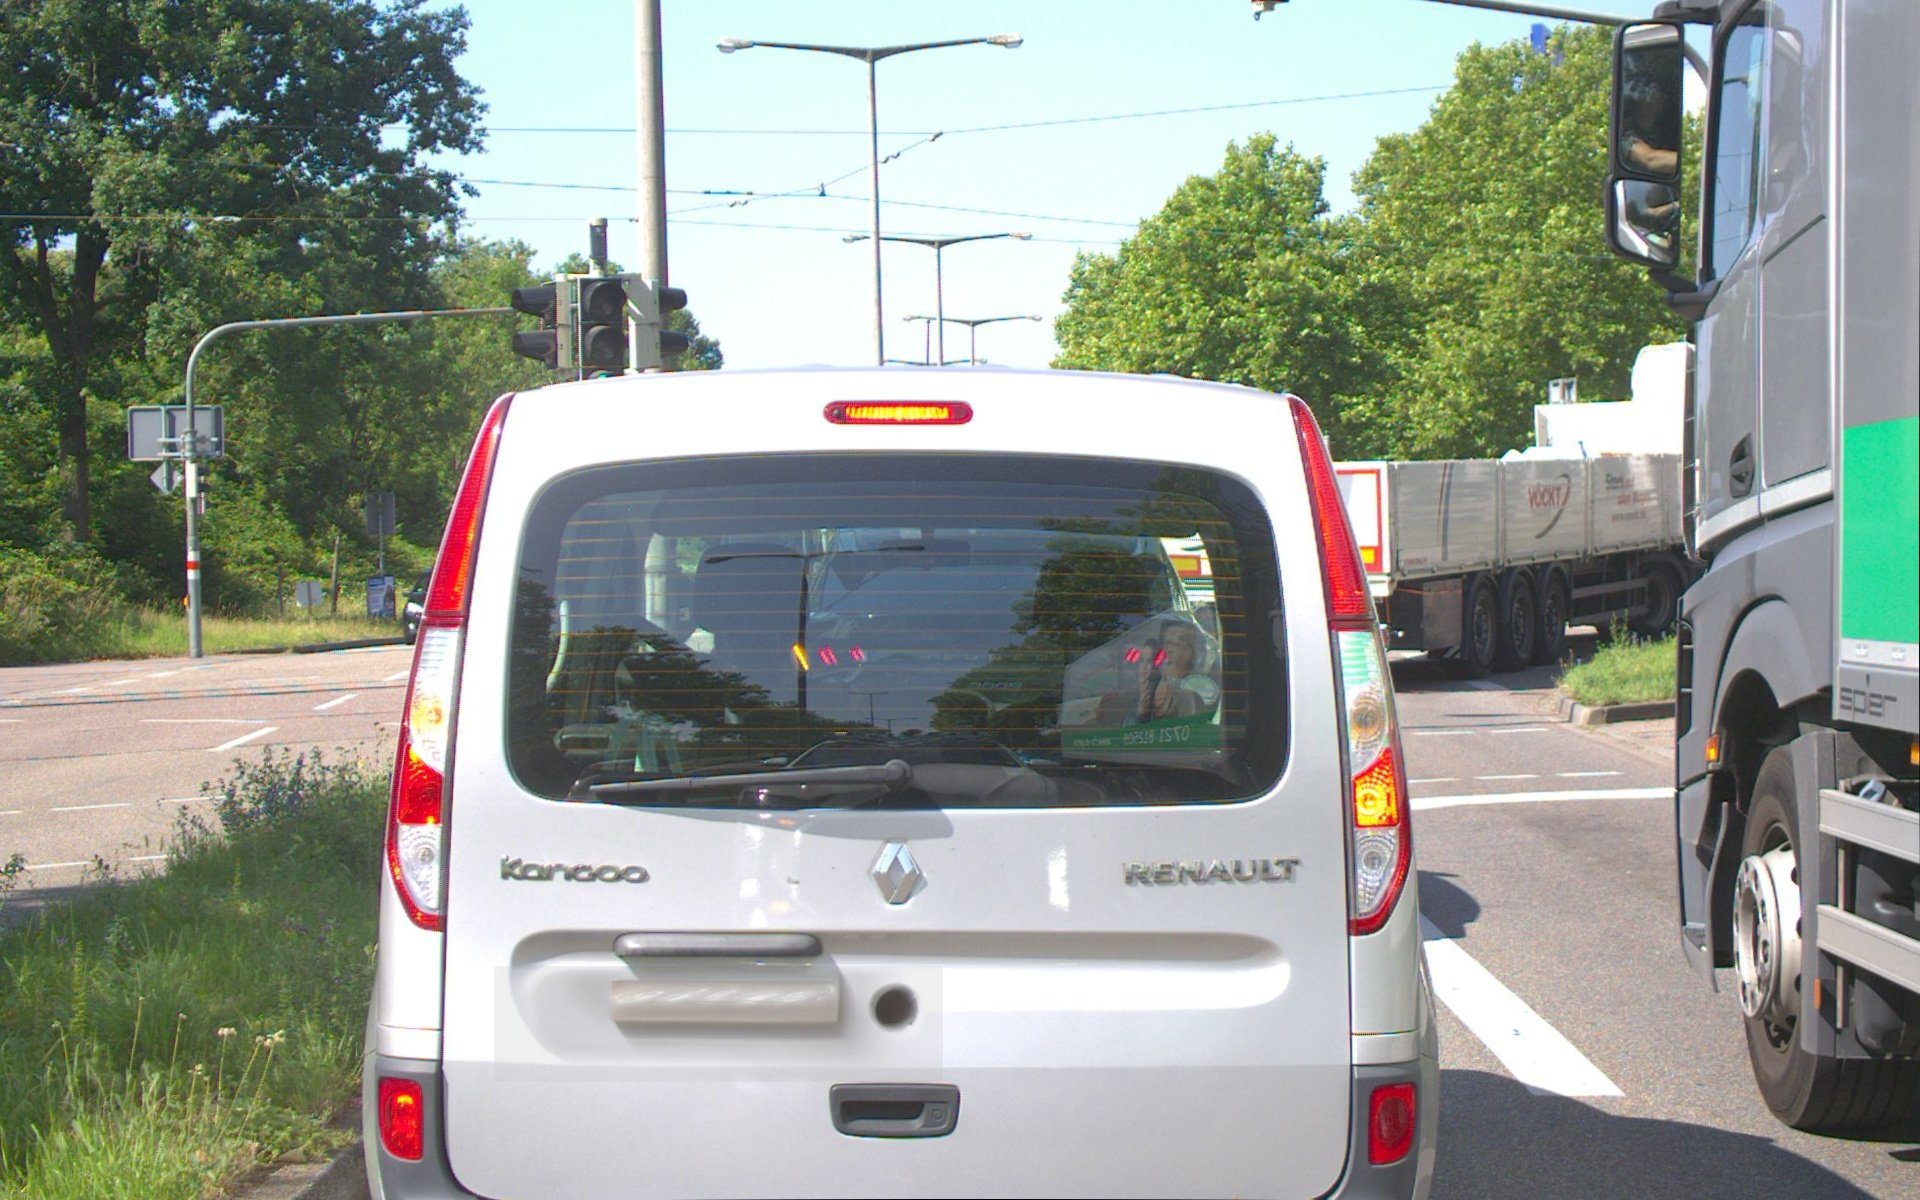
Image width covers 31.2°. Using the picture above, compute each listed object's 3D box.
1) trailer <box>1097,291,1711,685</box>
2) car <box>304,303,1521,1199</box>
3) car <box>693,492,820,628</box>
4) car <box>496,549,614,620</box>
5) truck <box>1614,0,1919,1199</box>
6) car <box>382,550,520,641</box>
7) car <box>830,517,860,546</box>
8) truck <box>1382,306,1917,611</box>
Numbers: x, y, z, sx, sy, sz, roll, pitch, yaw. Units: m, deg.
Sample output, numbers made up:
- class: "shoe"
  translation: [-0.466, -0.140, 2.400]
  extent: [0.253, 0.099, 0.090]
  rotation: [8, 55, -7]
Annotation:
- class: "trailer"
  translation: [5.350, -1.067, 37.871]
  extent: [2.904, 3.610, 12.668]
  rotation: [1, 1, 25]
- class: "car"
  translation: [-0.096, 0.470, 7.104]
  extent: [1.786, 1.831, 4.000]
  rotation: [1, 1, -1]
- class: "car"
  translation: [-4.073, -0.809, 69.615]
  extent: [1.994, 2.598, 5.133]
  rotation: [-1, 0, 2]
- class: "car"
  translation: [-9.232, -0.357, 78.670]
  extent: [1.994, 1.535, 4.236]
  rotation: [-1, 0, 2]
- class: "truck"
  translation: [3.193, -0.576, 5.919]
  extent: [2.729, 3.876, 8.722]
  rotation: [0, 0, 2]
- class: "car"
  translation: [-9.709, -0.099, 65.830]
  extent: [1.911, 1.636, 3.737]
  rotation: [-1, 0, 2]
- class: "car"
  translation: [-8.371, -4.965, 250.096]
  extent: [1.888, 2.007, 4.000]
  rotation: [1, 1, 2]
- class: "truck"
  translation: [9.010, -1.706, 44.451]
  extent: [7.168, 3.630, 2.919]
  rotation: [0, 1, -40]
